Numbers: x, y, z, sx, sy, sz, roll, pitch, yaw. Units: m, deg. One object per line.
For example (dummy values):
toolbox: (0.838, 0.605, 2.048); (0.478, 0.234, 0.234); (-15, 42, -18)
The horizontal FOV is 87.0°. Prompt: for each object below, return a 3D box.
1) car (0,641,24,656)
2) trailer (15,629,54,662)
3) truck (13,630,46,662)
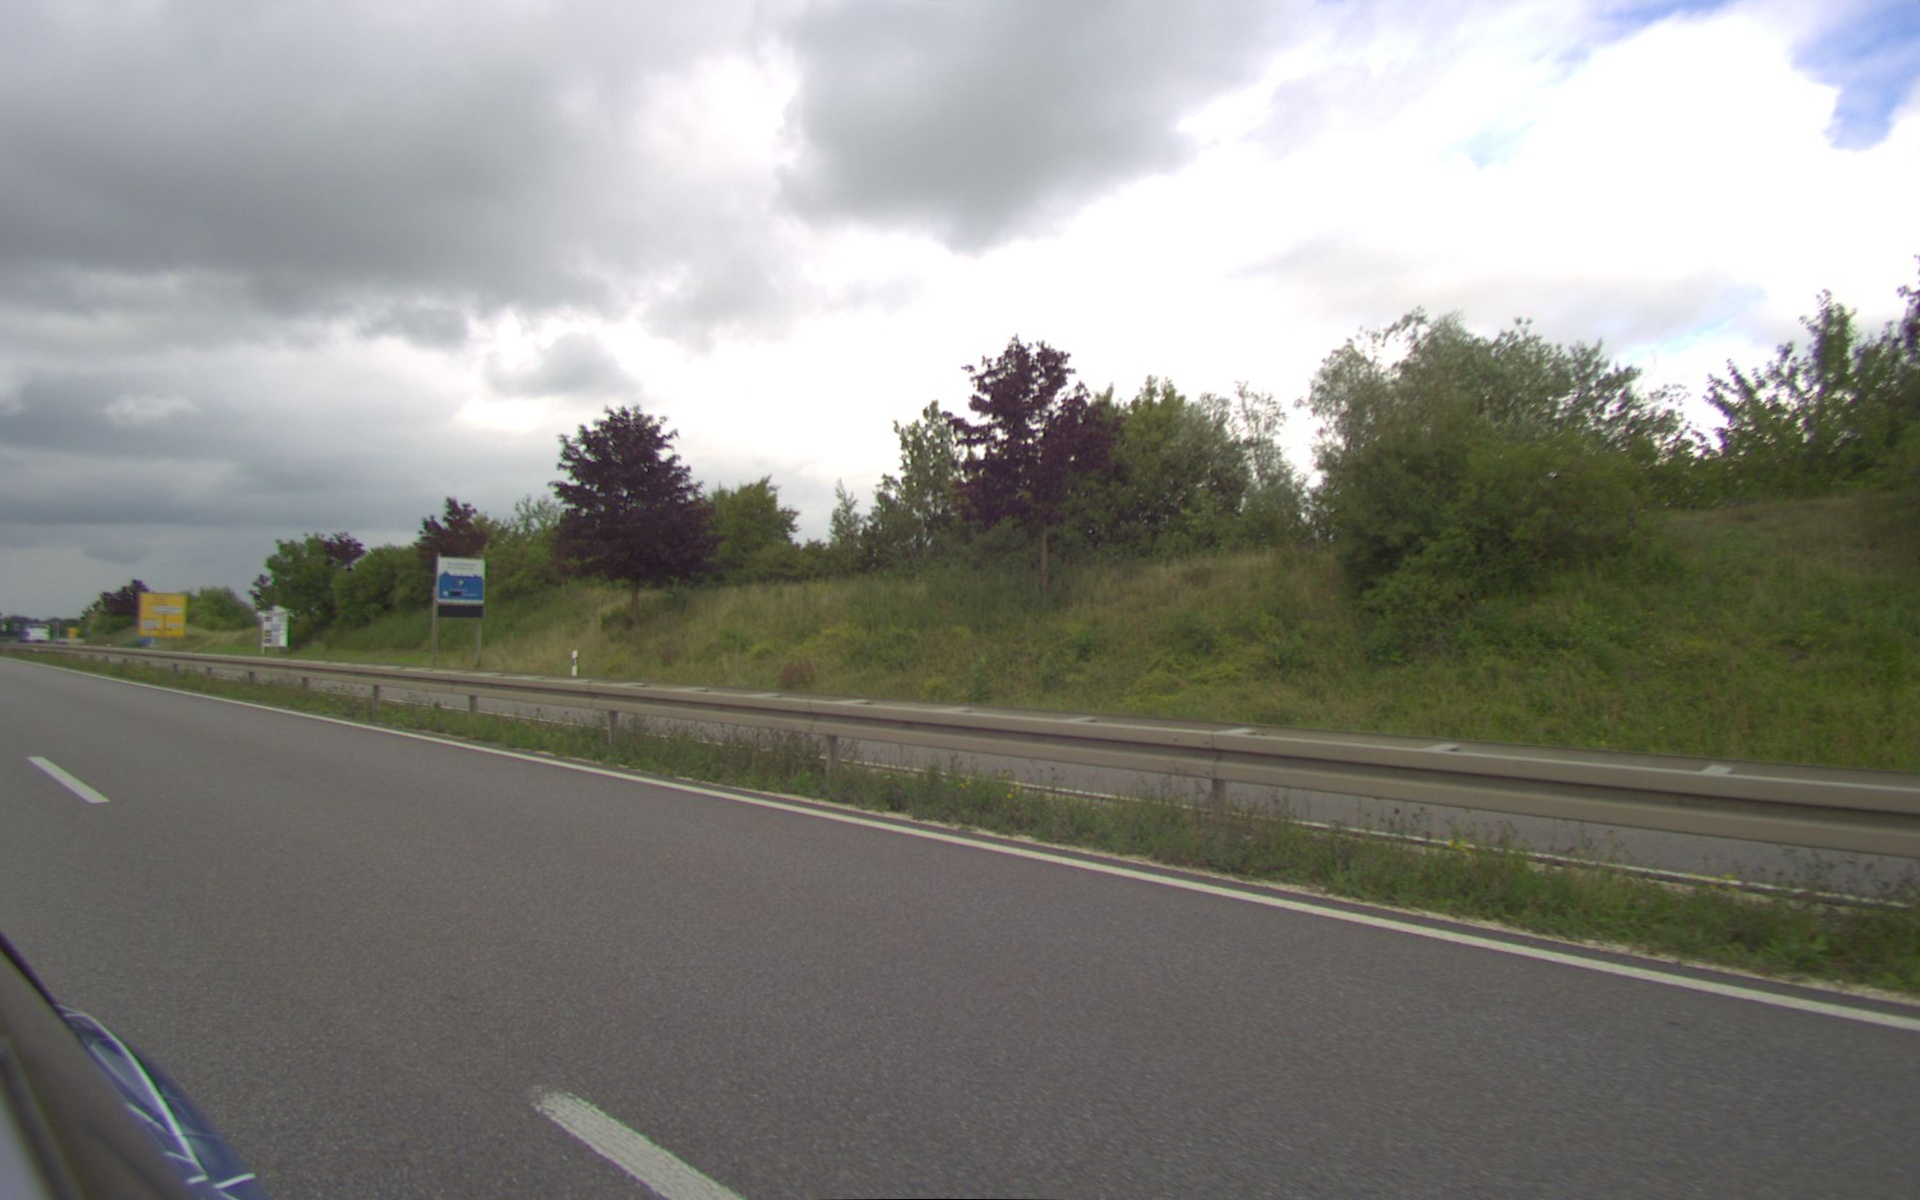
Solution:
car: (-96.504, 4.925, 102.860); (4.577, 1.497, 1.734); (-4, -4, 44)
trailer: (-118.505, 5.843, 129.549); (12.987, 3.977, 2.744); (-4, -4, 44)
truck: (-123.881, 6.146, 134.736); (5.288, 4.028, 2.771); (-4, -4, 44)
